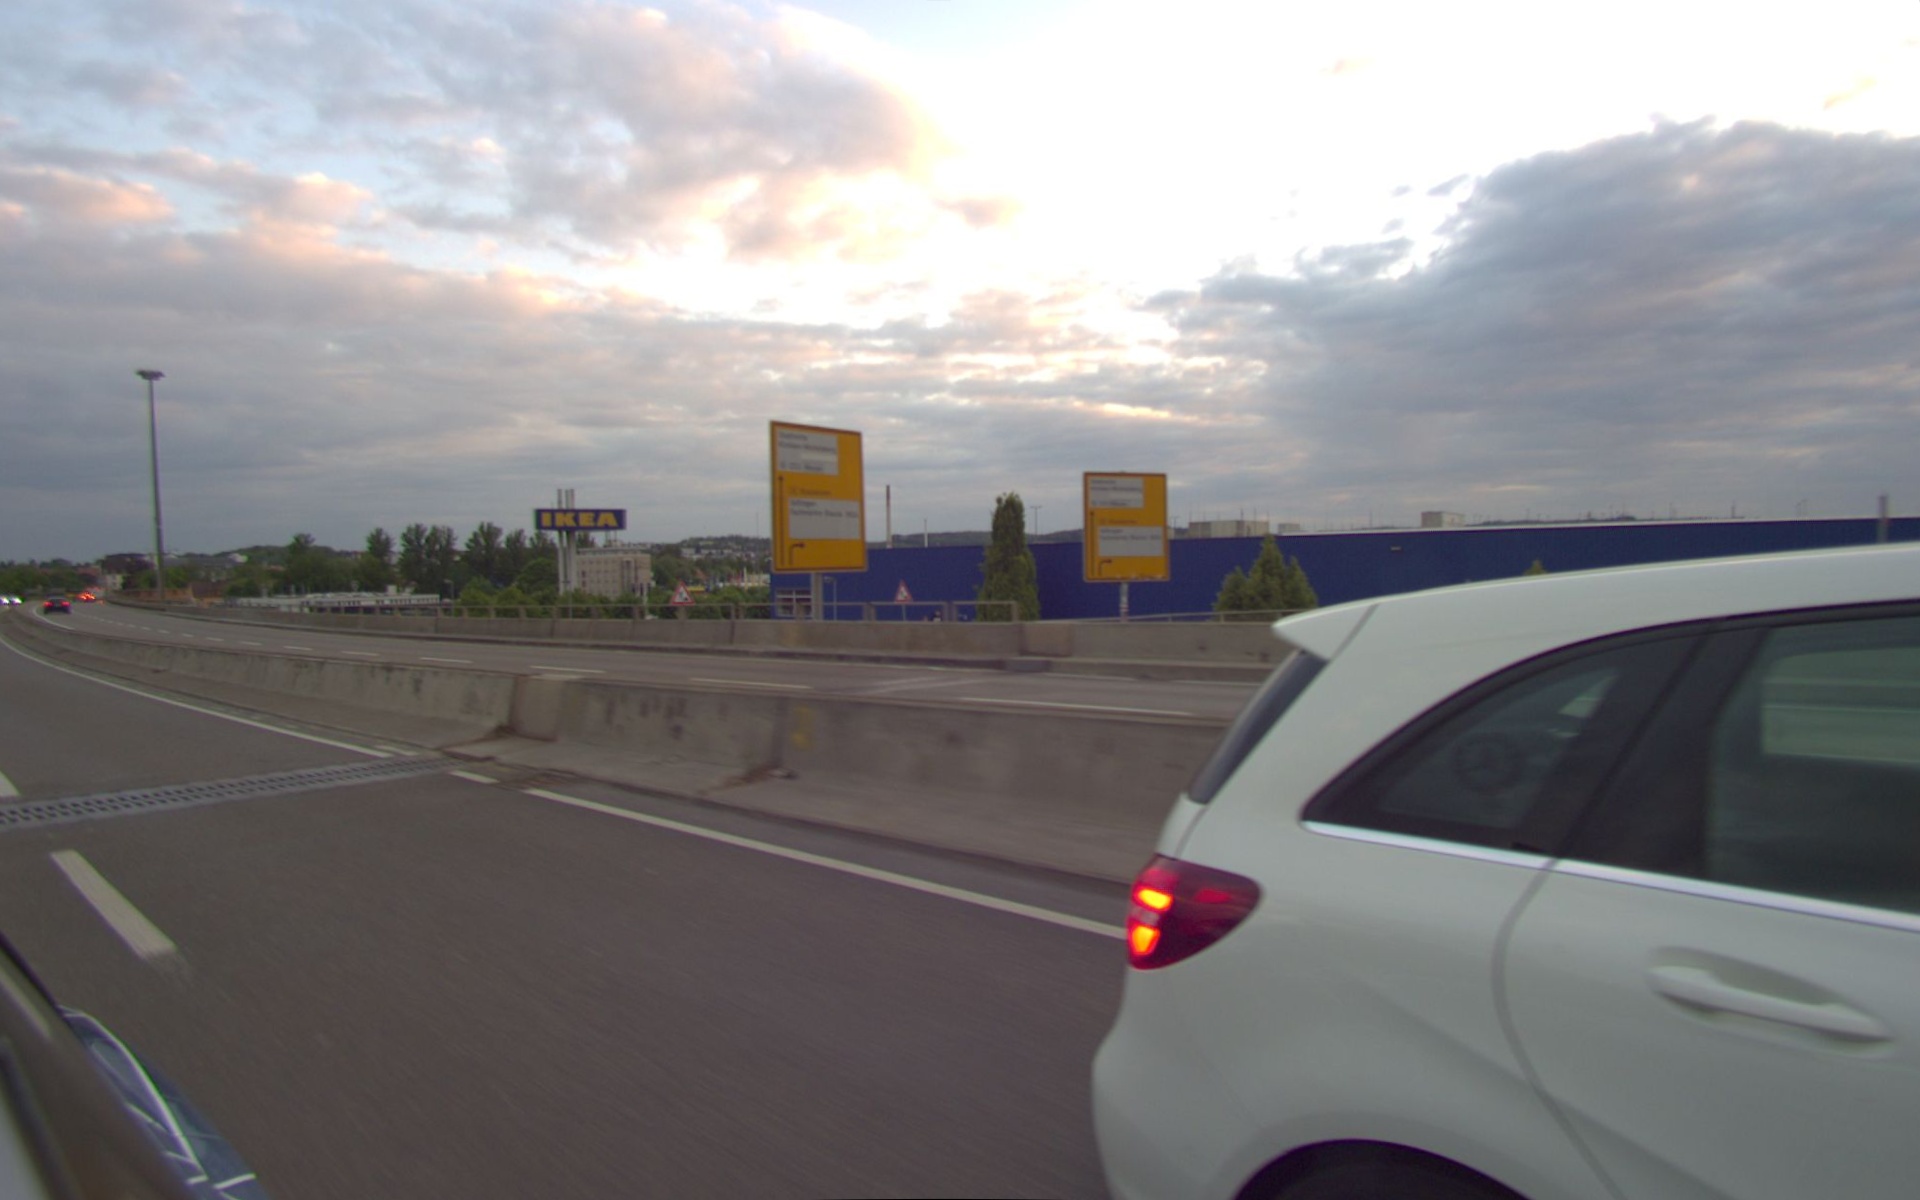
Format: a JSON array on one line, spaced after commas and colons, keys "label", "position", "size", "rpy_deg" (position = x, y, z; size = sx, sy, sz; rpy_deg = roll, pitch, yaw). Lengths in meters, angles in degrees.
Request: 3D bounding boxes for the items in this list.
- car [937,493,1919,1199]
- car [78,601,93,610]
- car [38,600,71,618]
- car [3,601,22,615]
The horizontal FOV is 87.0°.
[{"label": "car", "position": [2.324, 0.628, 1.026], "size": [4.780, 1.548, 1.673], "rpy_deg": [-2, 0, 40]}, {"label": "car", "position": [-163.565, 1.008, 189.277], "size": [1.951, 1.617, 4.450], "rpy_deg": [-2, 1, -38]}, {"label": "car", "position": [-78.635, 0.755, 87.875], "size": [4.288, 1.491, 1.809], "rpy_deg": [0, 1, 44]}, {"label": "car", "position": [-146.420, 1.255, 156.391], "size": [1.970, 2.029, 4.004], "rpy_deg": [-3, 1, -43]}]
